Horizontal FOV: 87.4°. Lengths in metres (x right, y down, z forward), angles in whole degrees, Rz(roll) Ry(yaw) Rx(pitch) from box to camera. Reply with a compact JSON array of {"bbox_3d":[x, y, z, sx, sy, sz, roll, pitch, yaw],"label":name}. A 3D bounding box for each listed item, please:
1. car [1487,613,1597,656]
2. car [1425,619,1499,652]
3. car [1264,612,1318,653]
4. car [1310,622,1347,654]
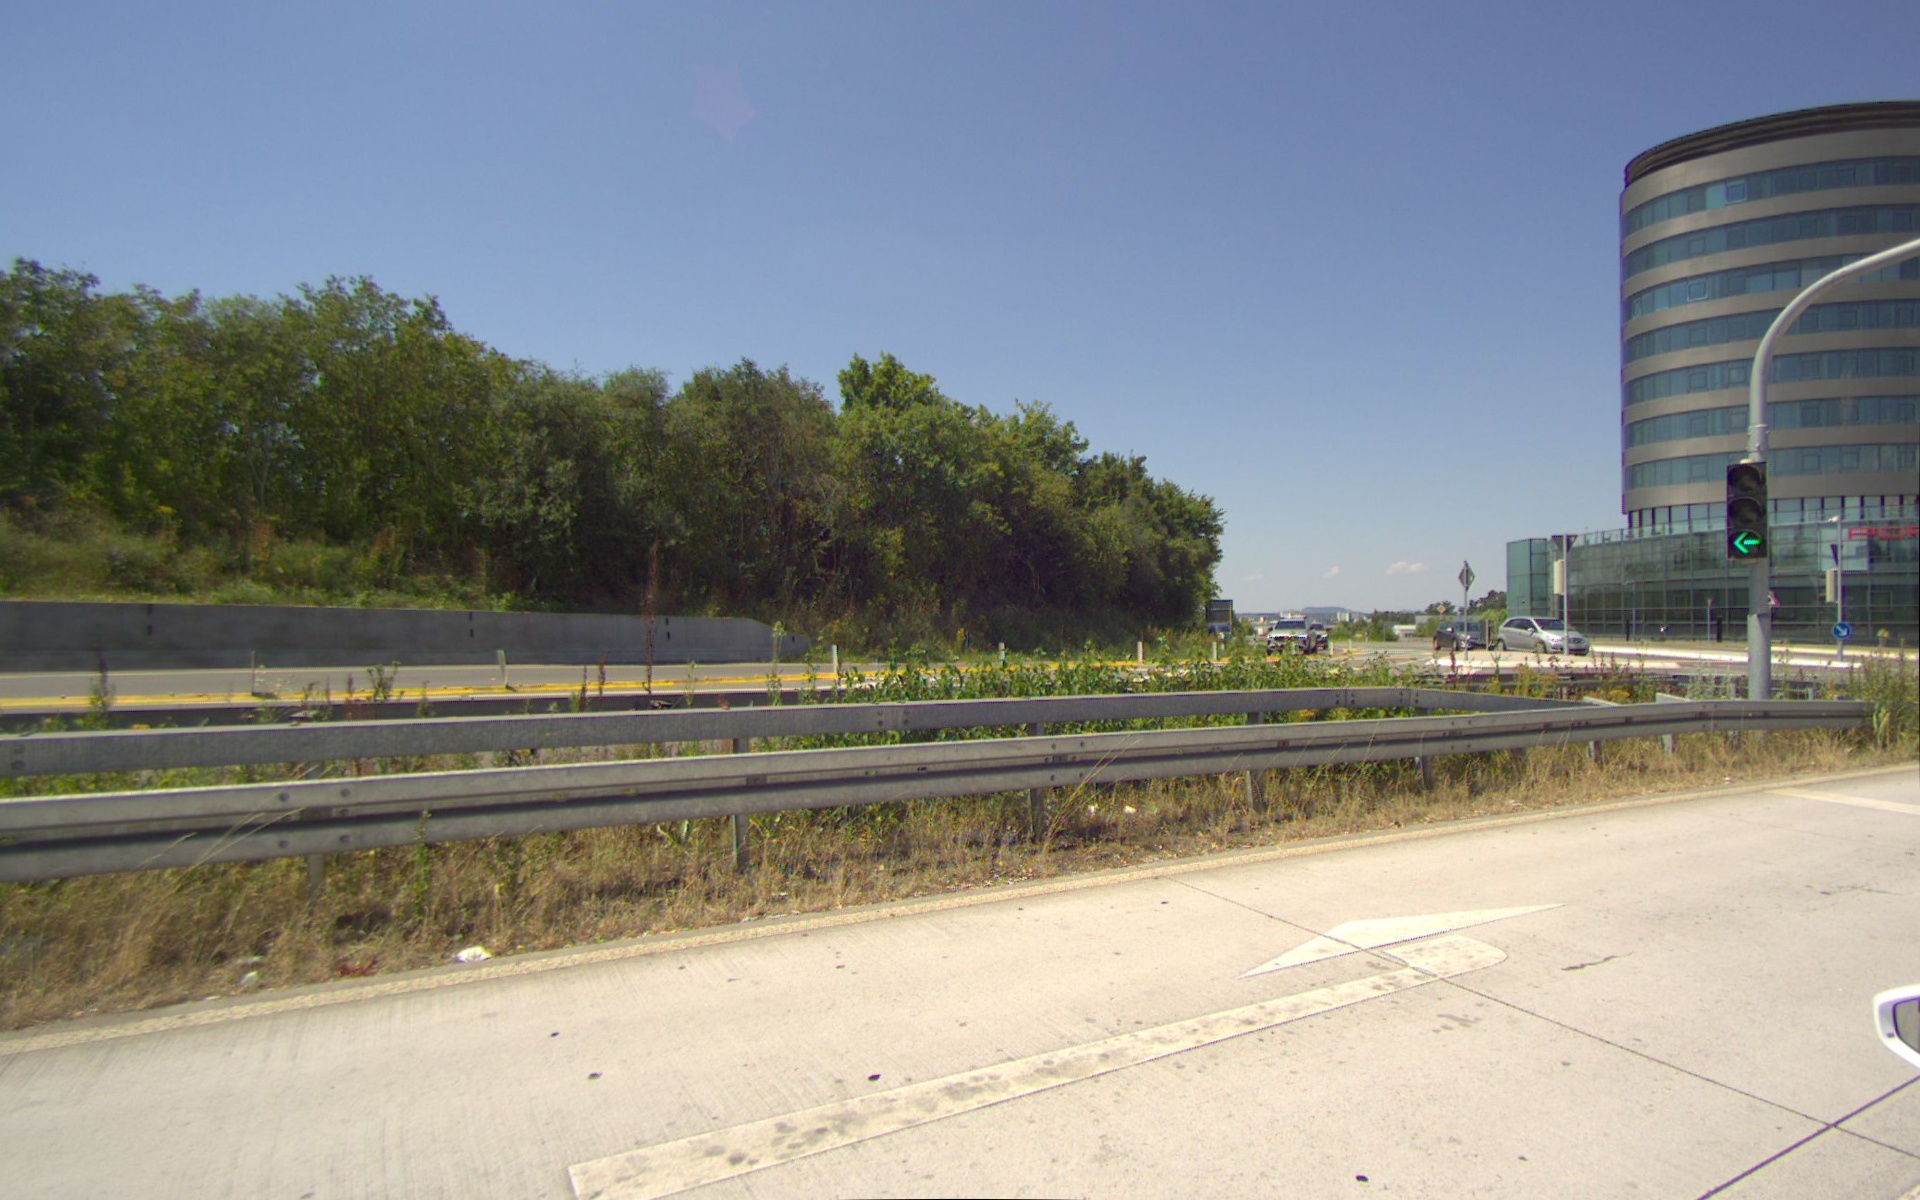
[{"bbox_3d":[23.615,1.410,40.937,1.743,1.616,4.327,2,-2,-5],"label":"car"},{"bbox_3d":[24.141,1.727,48.437,1.663,1.475,4.332,2,-2,5],"label":"car"},{"bbox_3d":[15.902,1.536,48.103,1.962,1.796,4.854,1,-1,24],"label":"car"},{"bbox_3d":[21.761,2.211,59.467,1.960,1.715,4.657,1,-1,19],"label":"car"}]
